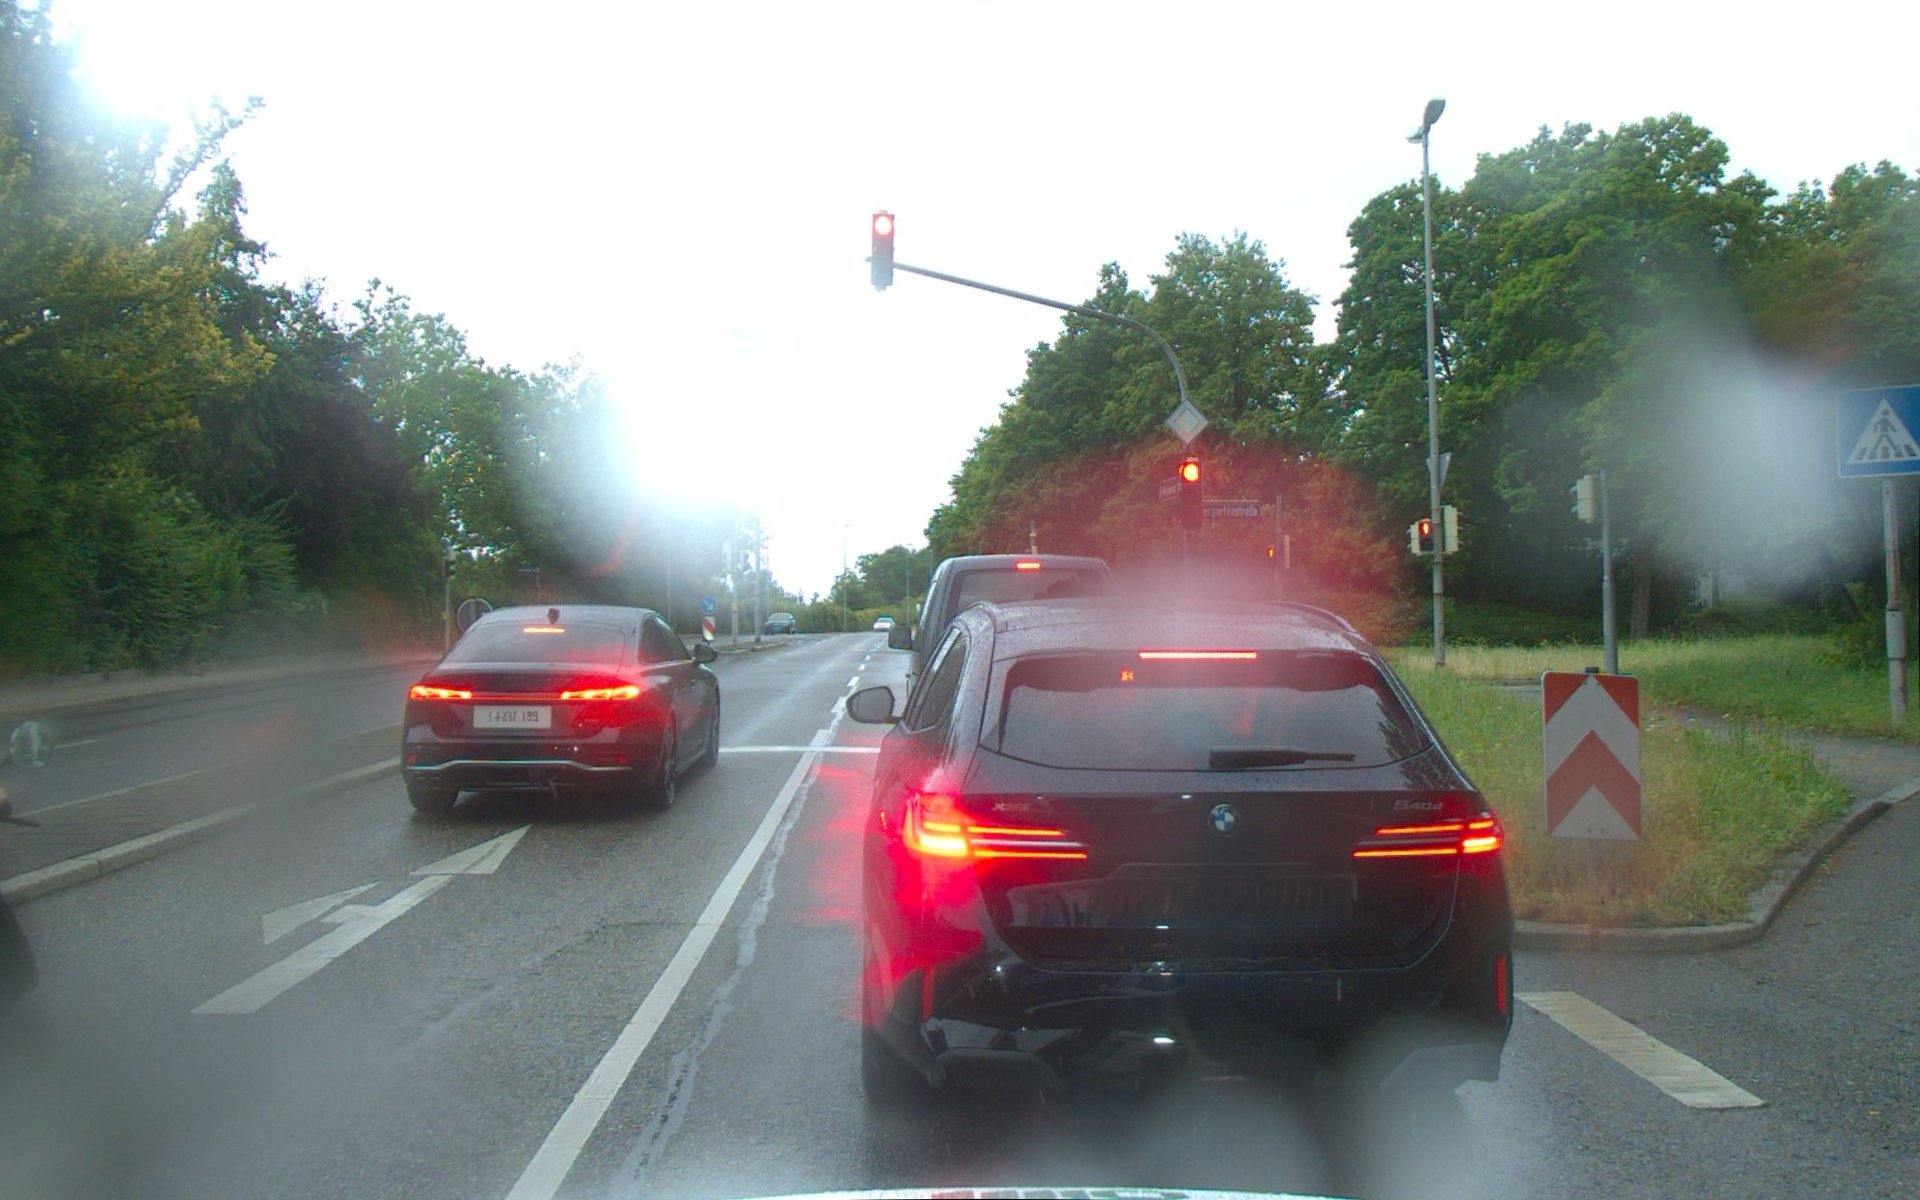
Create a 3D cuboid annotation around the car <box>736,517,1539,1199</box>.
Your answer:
[{"bbox_3d":[0.518,0.640,6.169,1.858,1.578,4.616,0,-1,3],"label":"car"}]

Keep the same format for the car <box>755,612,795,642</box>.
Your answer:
[{"bbox_3d":[-12.314,1.793,110.295,1.952,1.858,4.001,-2,-1,3],"label":"car"}]

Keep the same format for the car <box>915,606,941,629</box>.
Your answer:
[{"bbox_3d":[-2.142,1.150,111.541,1.663,1.452,3.513,-2,0,0],"label":"car"}]

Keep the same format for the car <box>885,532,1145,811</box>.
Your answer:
[{"bbox_3d":[0.370,0.506,13.334,1.781,1.901,3.952,0,0,0],"label":"car"}]

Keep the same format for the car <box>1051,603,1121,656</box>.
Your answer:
[{"bbox_3d":[3.960,0.913,52.450,1.835,1.569,3.952,-2,0,0],"label":"car"}]

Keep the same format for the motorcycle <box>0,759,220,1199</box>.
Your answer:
[{"bbox_3d":[-2.299,0.946,3.522,0.677,1.071,1.747,-2,-2,-1],"label":"motorcycle"}]

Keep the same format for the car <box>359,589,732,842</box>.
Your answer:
[{"bbox_3d":[-2.985,0.764,12.906,1.954,1.554,4.325,-2,0,-3],"label":"car"}]

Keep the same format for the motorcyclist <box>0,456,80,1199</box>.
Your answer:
[{"bbox_3d":[-2.308,0.551,3.280,0.749,1.671,0.674,-1,-1,-2],"label":"motorcyclist"}]

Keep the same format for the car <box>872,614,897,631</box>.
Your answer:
[{"bbox_3d":[-7.751,2.254,169.555,1.951,1.639,3.674,-2,-1,6],"label":"car"}]

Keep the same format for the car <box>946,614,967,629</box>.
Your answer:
[{"bbox_3d":[-0.392,2.640,204.835,2.061,1.795,4.871,-2,-1,6],"label":"car"}]
